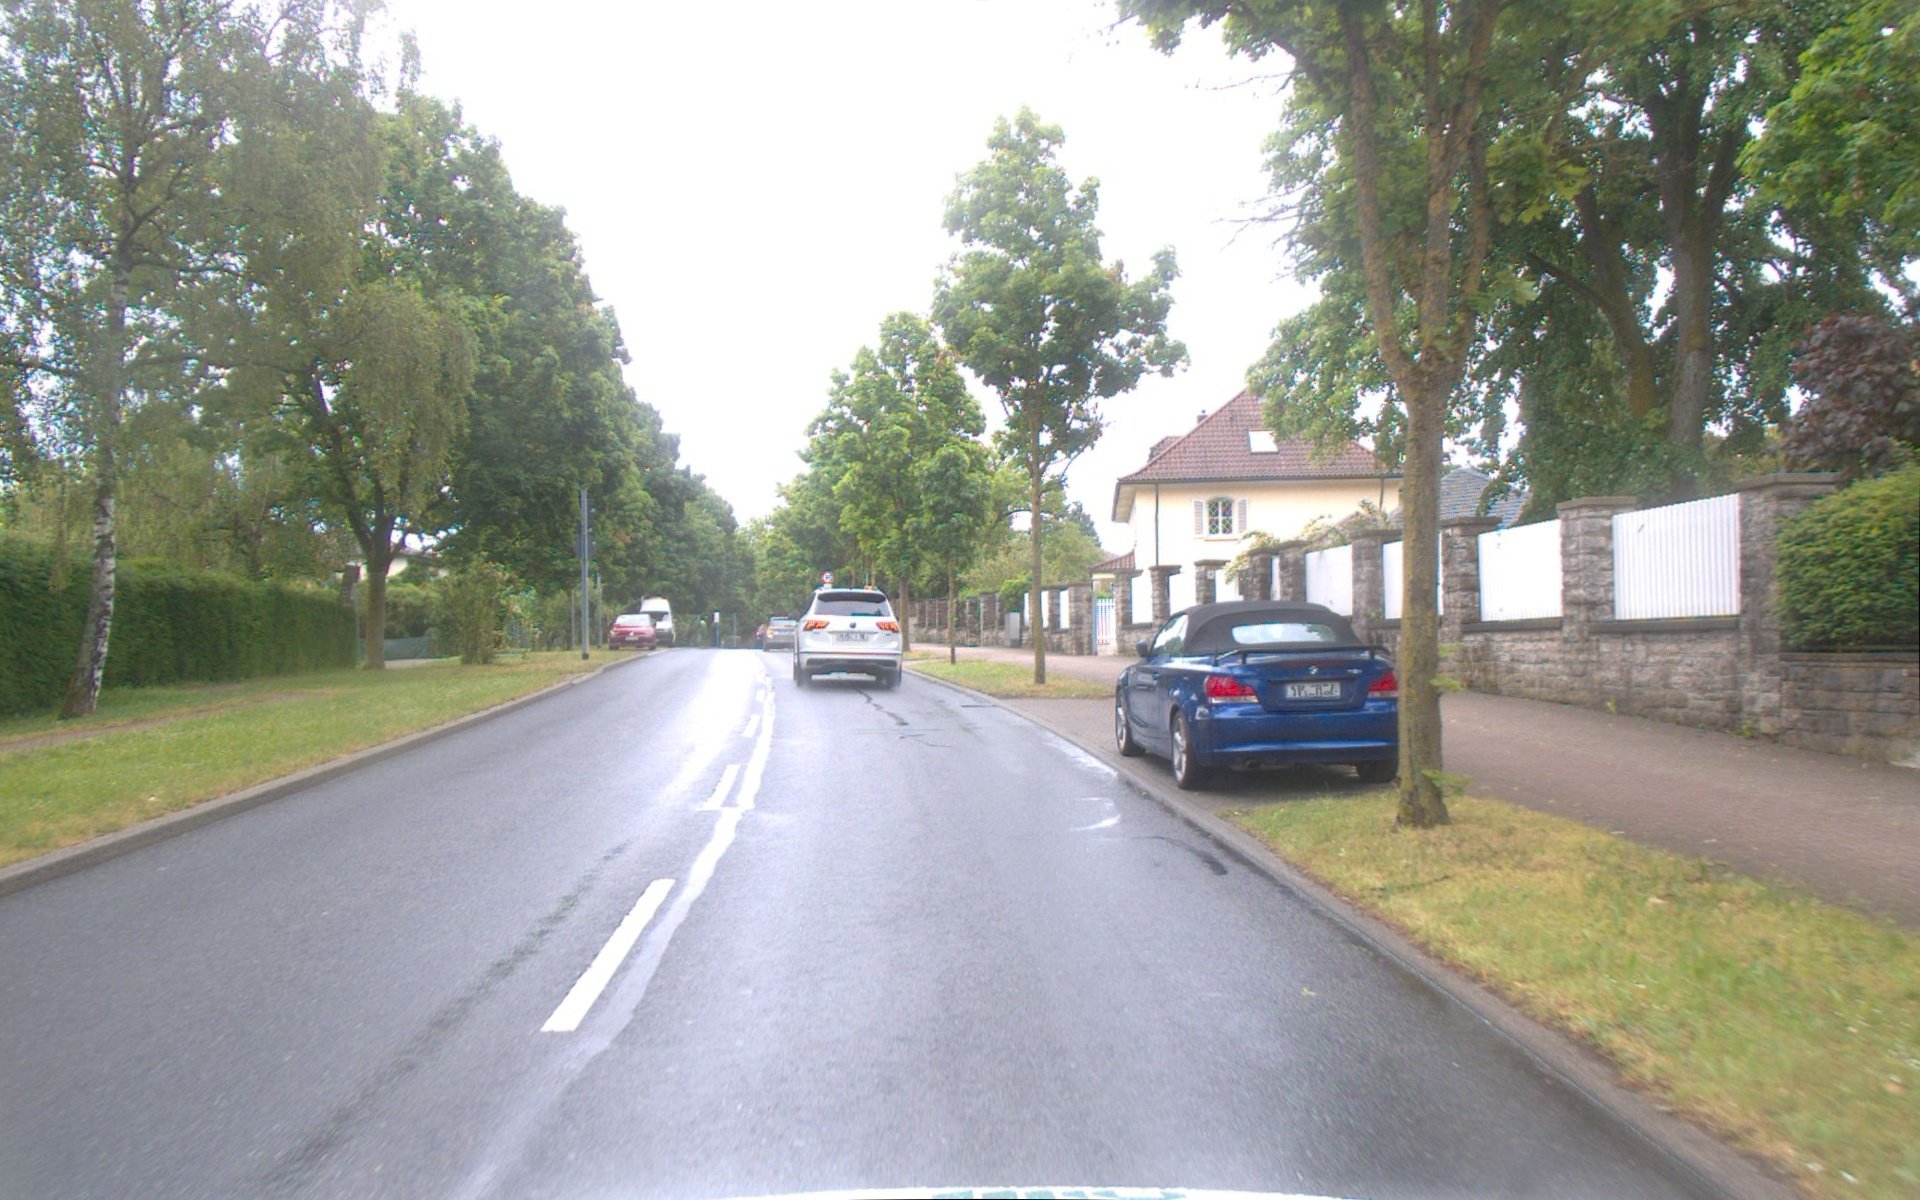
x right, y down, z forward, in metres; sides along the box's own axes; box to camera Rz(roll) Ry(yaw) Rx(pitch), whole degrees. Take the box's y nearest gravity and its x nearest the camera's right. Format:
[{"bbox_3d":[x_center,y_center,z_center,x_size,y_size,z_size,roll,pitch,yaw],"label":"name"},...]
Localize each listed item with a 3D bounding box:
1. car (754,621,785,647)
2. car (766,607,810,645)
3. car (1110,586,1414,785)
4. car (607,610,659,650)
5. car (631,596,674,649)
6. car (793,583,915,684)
[{"bbox_3d":[-11.630,2.054,101.268,1.816,1.442,4.220,1,0,-6],"label":"car"},{"bbox_3d":[-7.370,1.074,70.857,1.805,1.513,3.995,1,0,-6],"label":"car"},{"bbox_3d":[2.409,0.646,14.128,1.609,1.401,3.825,-2,0,-4],"label":"car"},{"bbox_3d":[-12.865,1.185,65.201,1.809,1.491,4.240,0,-1,-9],"label":"car"},{"bbox_3d":[-15.705,1.202,84.693,1.956,2.606,5.222,0,-1,-8],"label":"car"},{"bbox_3d":[-1.953,0.542,29.358,1.959,1.660,3.994,0,0,-7],"label":"car"}]
